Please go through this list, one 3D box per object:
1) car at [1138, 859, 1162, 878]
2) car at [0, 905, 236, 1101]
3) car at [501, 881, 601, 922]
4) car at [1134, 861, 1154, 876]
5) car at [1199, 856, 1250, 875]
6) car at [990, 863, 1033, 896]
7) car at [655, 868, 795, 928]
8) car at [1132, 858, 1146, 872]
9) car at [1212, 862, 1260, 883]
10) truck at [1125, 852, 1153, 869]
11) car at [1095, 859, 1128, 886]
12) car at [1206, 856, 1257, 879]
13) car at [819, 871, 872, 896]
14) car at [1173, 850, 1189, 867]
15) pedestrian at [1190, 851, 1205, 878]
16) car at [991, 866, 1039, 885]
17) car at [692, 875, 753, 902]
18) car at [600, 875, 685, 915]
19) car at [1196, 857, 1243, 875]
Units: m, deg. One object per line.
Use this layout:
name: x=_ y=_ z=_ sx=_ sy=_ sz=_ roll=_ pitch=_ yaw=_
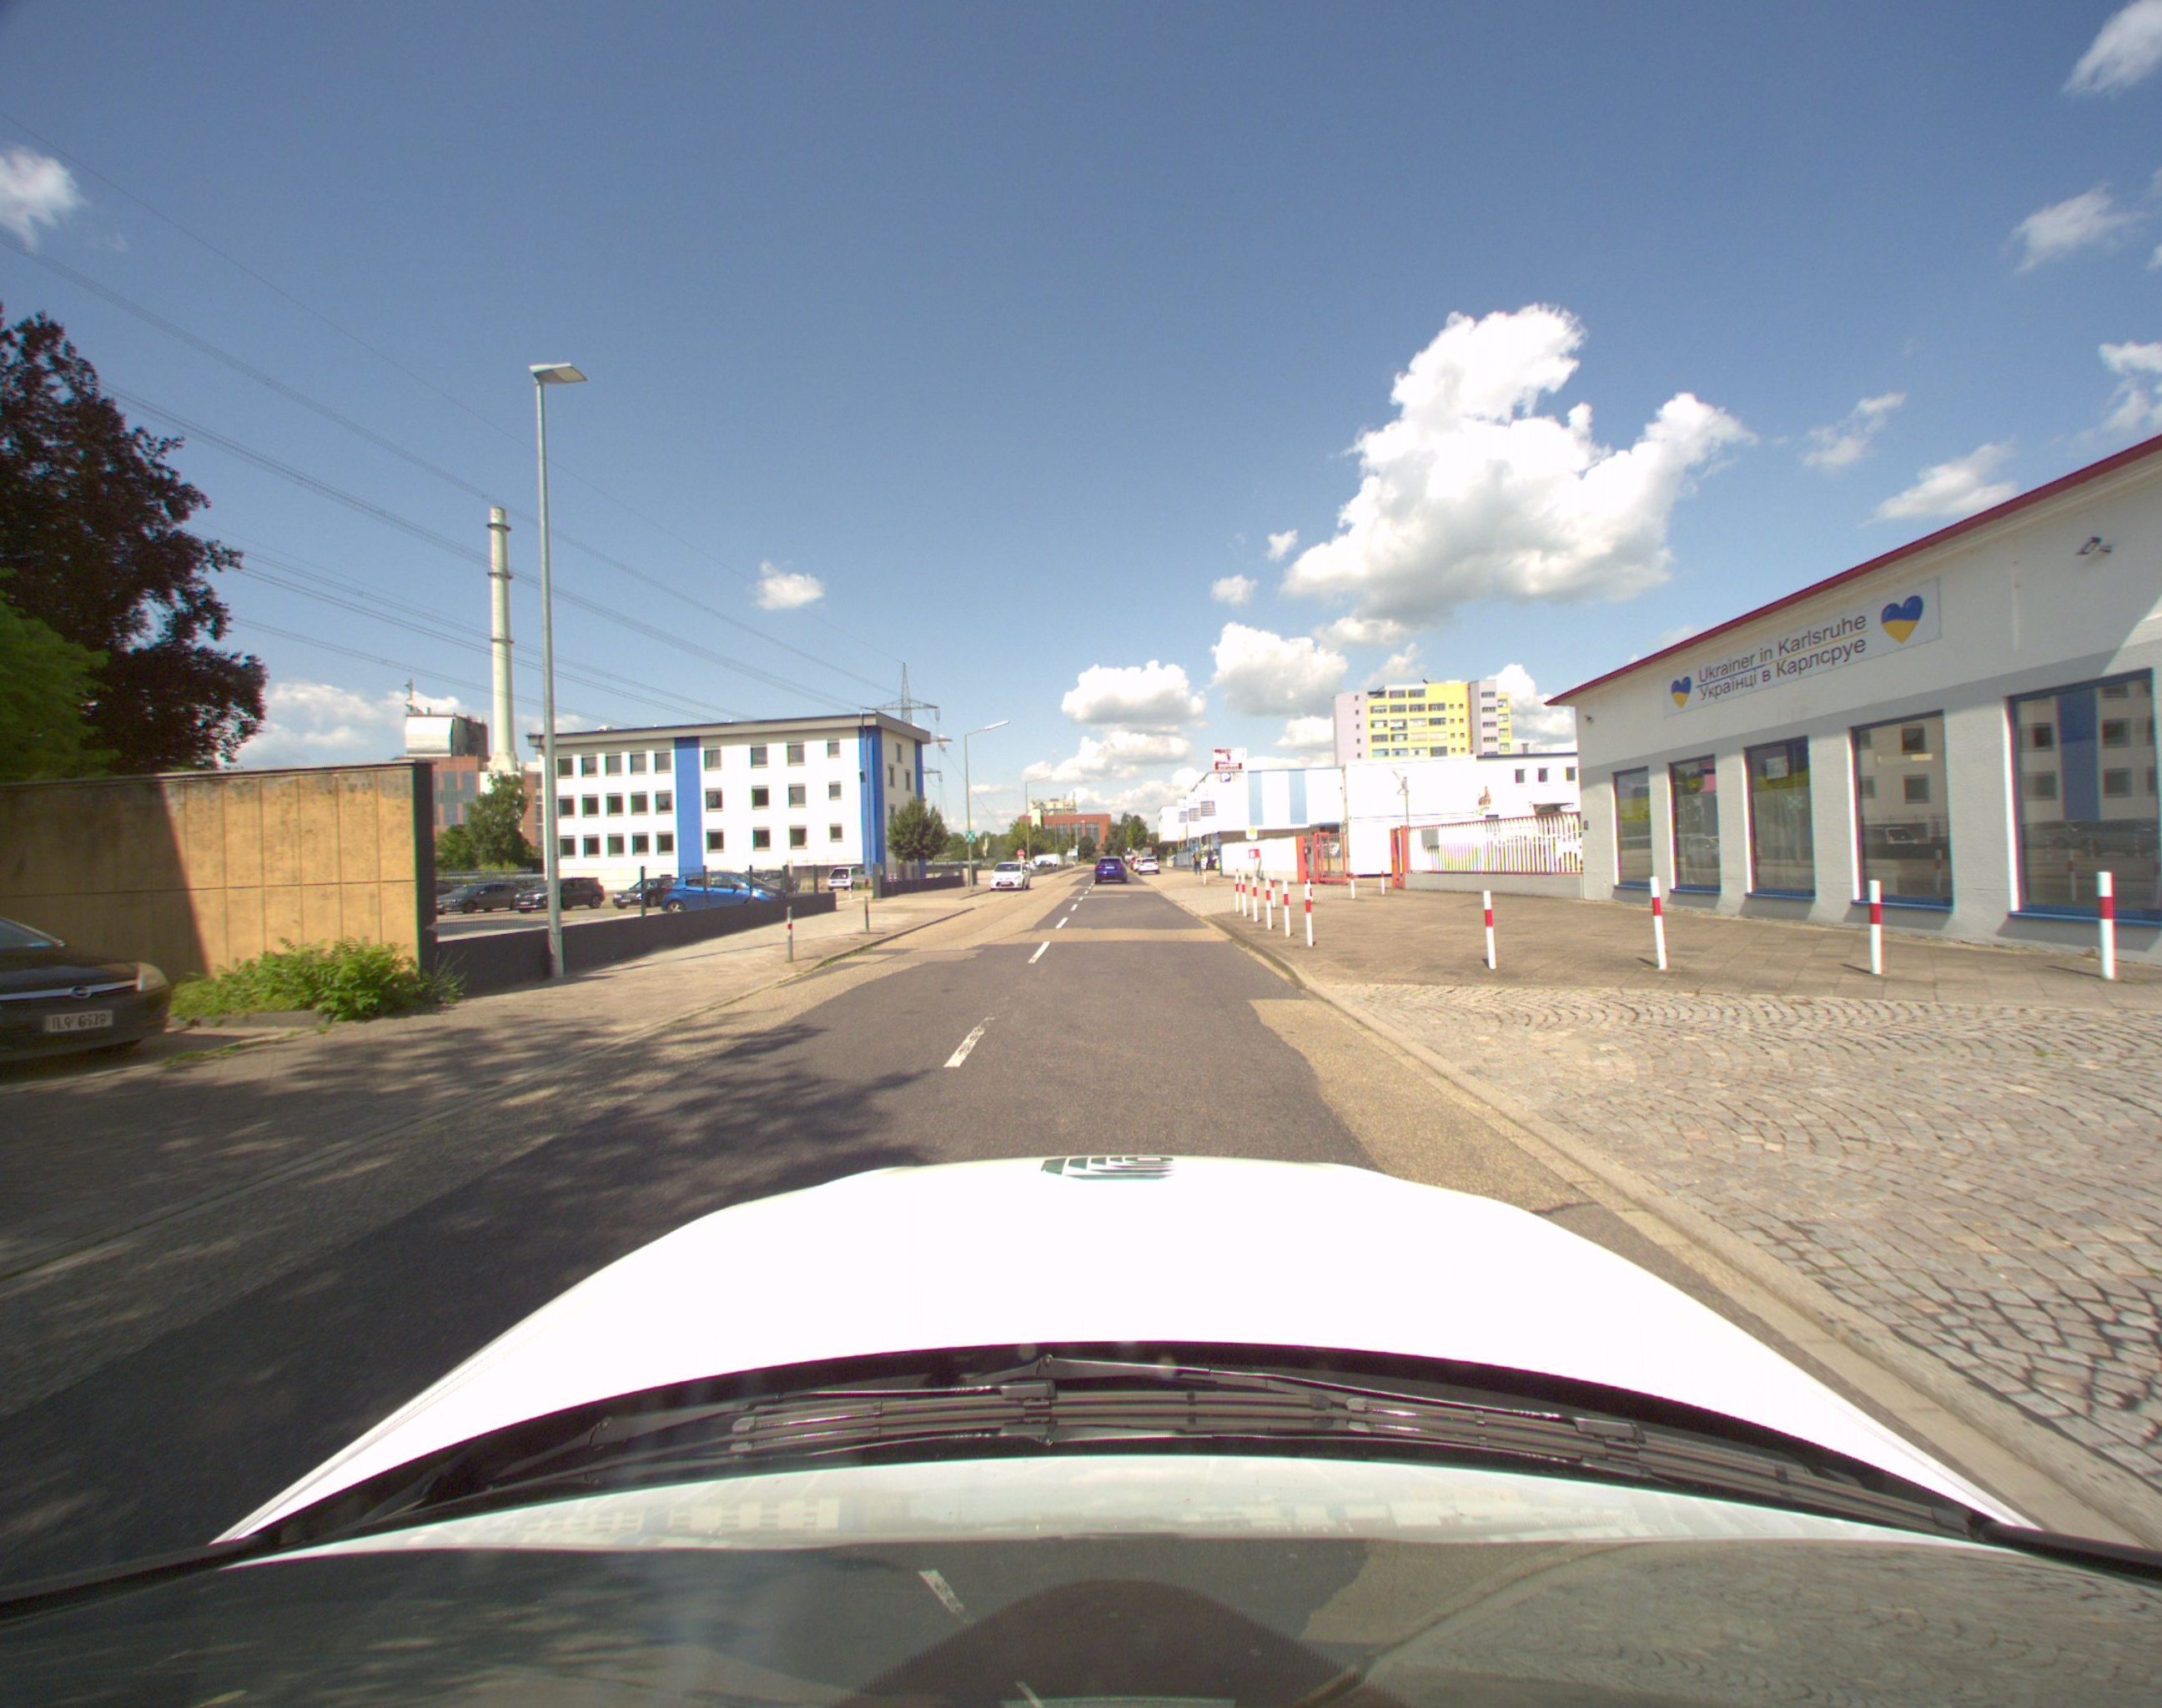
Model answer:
car: x=6.108 y=1.267 z=72.518 sx=1.861 sy=1.520 sz=4.599 roll=-2 pitch=-1 yaw=2
car: x=-9.881 y=1.224 z=6.785 sx=3.974 sy=1.362 sz=1.797 roll=-2 pitch=-1 yaw=5
car: x=-25.888 y=2.292 z=39.968 sx=1.863 sy=1.708 sz=4.075 roll=-2 pitch=-1 yaw=7
car: x=6.614 y=1.475 z=85.313 sx=1.828 sy=1.520 sz=4.463 roll=-2 pitch=-1 yaw=2
car: x=12.054 y=0.955 z=68.647 sx=3.971 sy=1.420 sz=2.001 roll=-3 pitch=0 yaw=2
car: x=-3.905 y=1.412 z=46.309 sx=1.860 sy=1.708 sz=4.754 roll=-1 pitch=-1 yaw=2
car: x=-11.449 y=1.381 z=26.378 sx=3.634 sy=1.708 sz=1.879 roll=-2 pitch=-1 yaw=1
car: x=7.398 y=1.385 z=104.099 sx=1.747 sy=1.650 sz=4.682 roll=-2 pitch=-1 yaw=4
car: x=11.933 y=1.429 z=62.894 sx=3.391 sy=1.490 sz=1.792 roll=-2 pitch=-1 yaw=1
truck: x=13.666 y=1.472 z=190.304 sx=2.298 sy=3.567 sz=9.427 roll=-1 pitch=1 yaw=33
car: x=1.906 y=1.127 z=50.753 sx=1.902 sy=1.593 sz=4.703 roll=-2 pitch=-1 yaw=2
car: x=12.128 y=1.095 z=65.787 sx=3.792 sy=1.680 sz=1.792 roll=-2 pitch=-1 yaw=1
car: x=-15.485 y=1.921 z=53.738 sx=1.862 sy=1.507 sz=3.767 roll=-2 pitch=-1 yaw=8
car: x=14.945 y=0.691 z=121.788 sx=1.916 sy=2.464 sz=5.262 roll=-2 pitch=-1 yaw=2
pedestrian: x=7.750 y=0.718 z=54.242 sx=0.766 sy=1.756 sz=0.787 roll=-4 pitch=-1 yaw=1
car: x=-6.789 y=2.238 z=84.581 sx=4.742 sy=1.602 sz=1.999 roll=-4 pitch=-1 yaw=-2
car: x=-24.783 y=2.355 z=56.505 sx=1.814 sy=1.655 sz=4.453 roll=-3 pitch=-1 yaw=7
car: x=-21.006 y=1.921 z=39.166 sx=1.862 sy=1.708 sz=3.487 roll=-2 pitch=-1 yaw=8
car: x=13.310 y=1.149 z=78.540 sx=4.262 sy=1.420 sz=2.001 roll=-3 pitch=0 yaw=2
